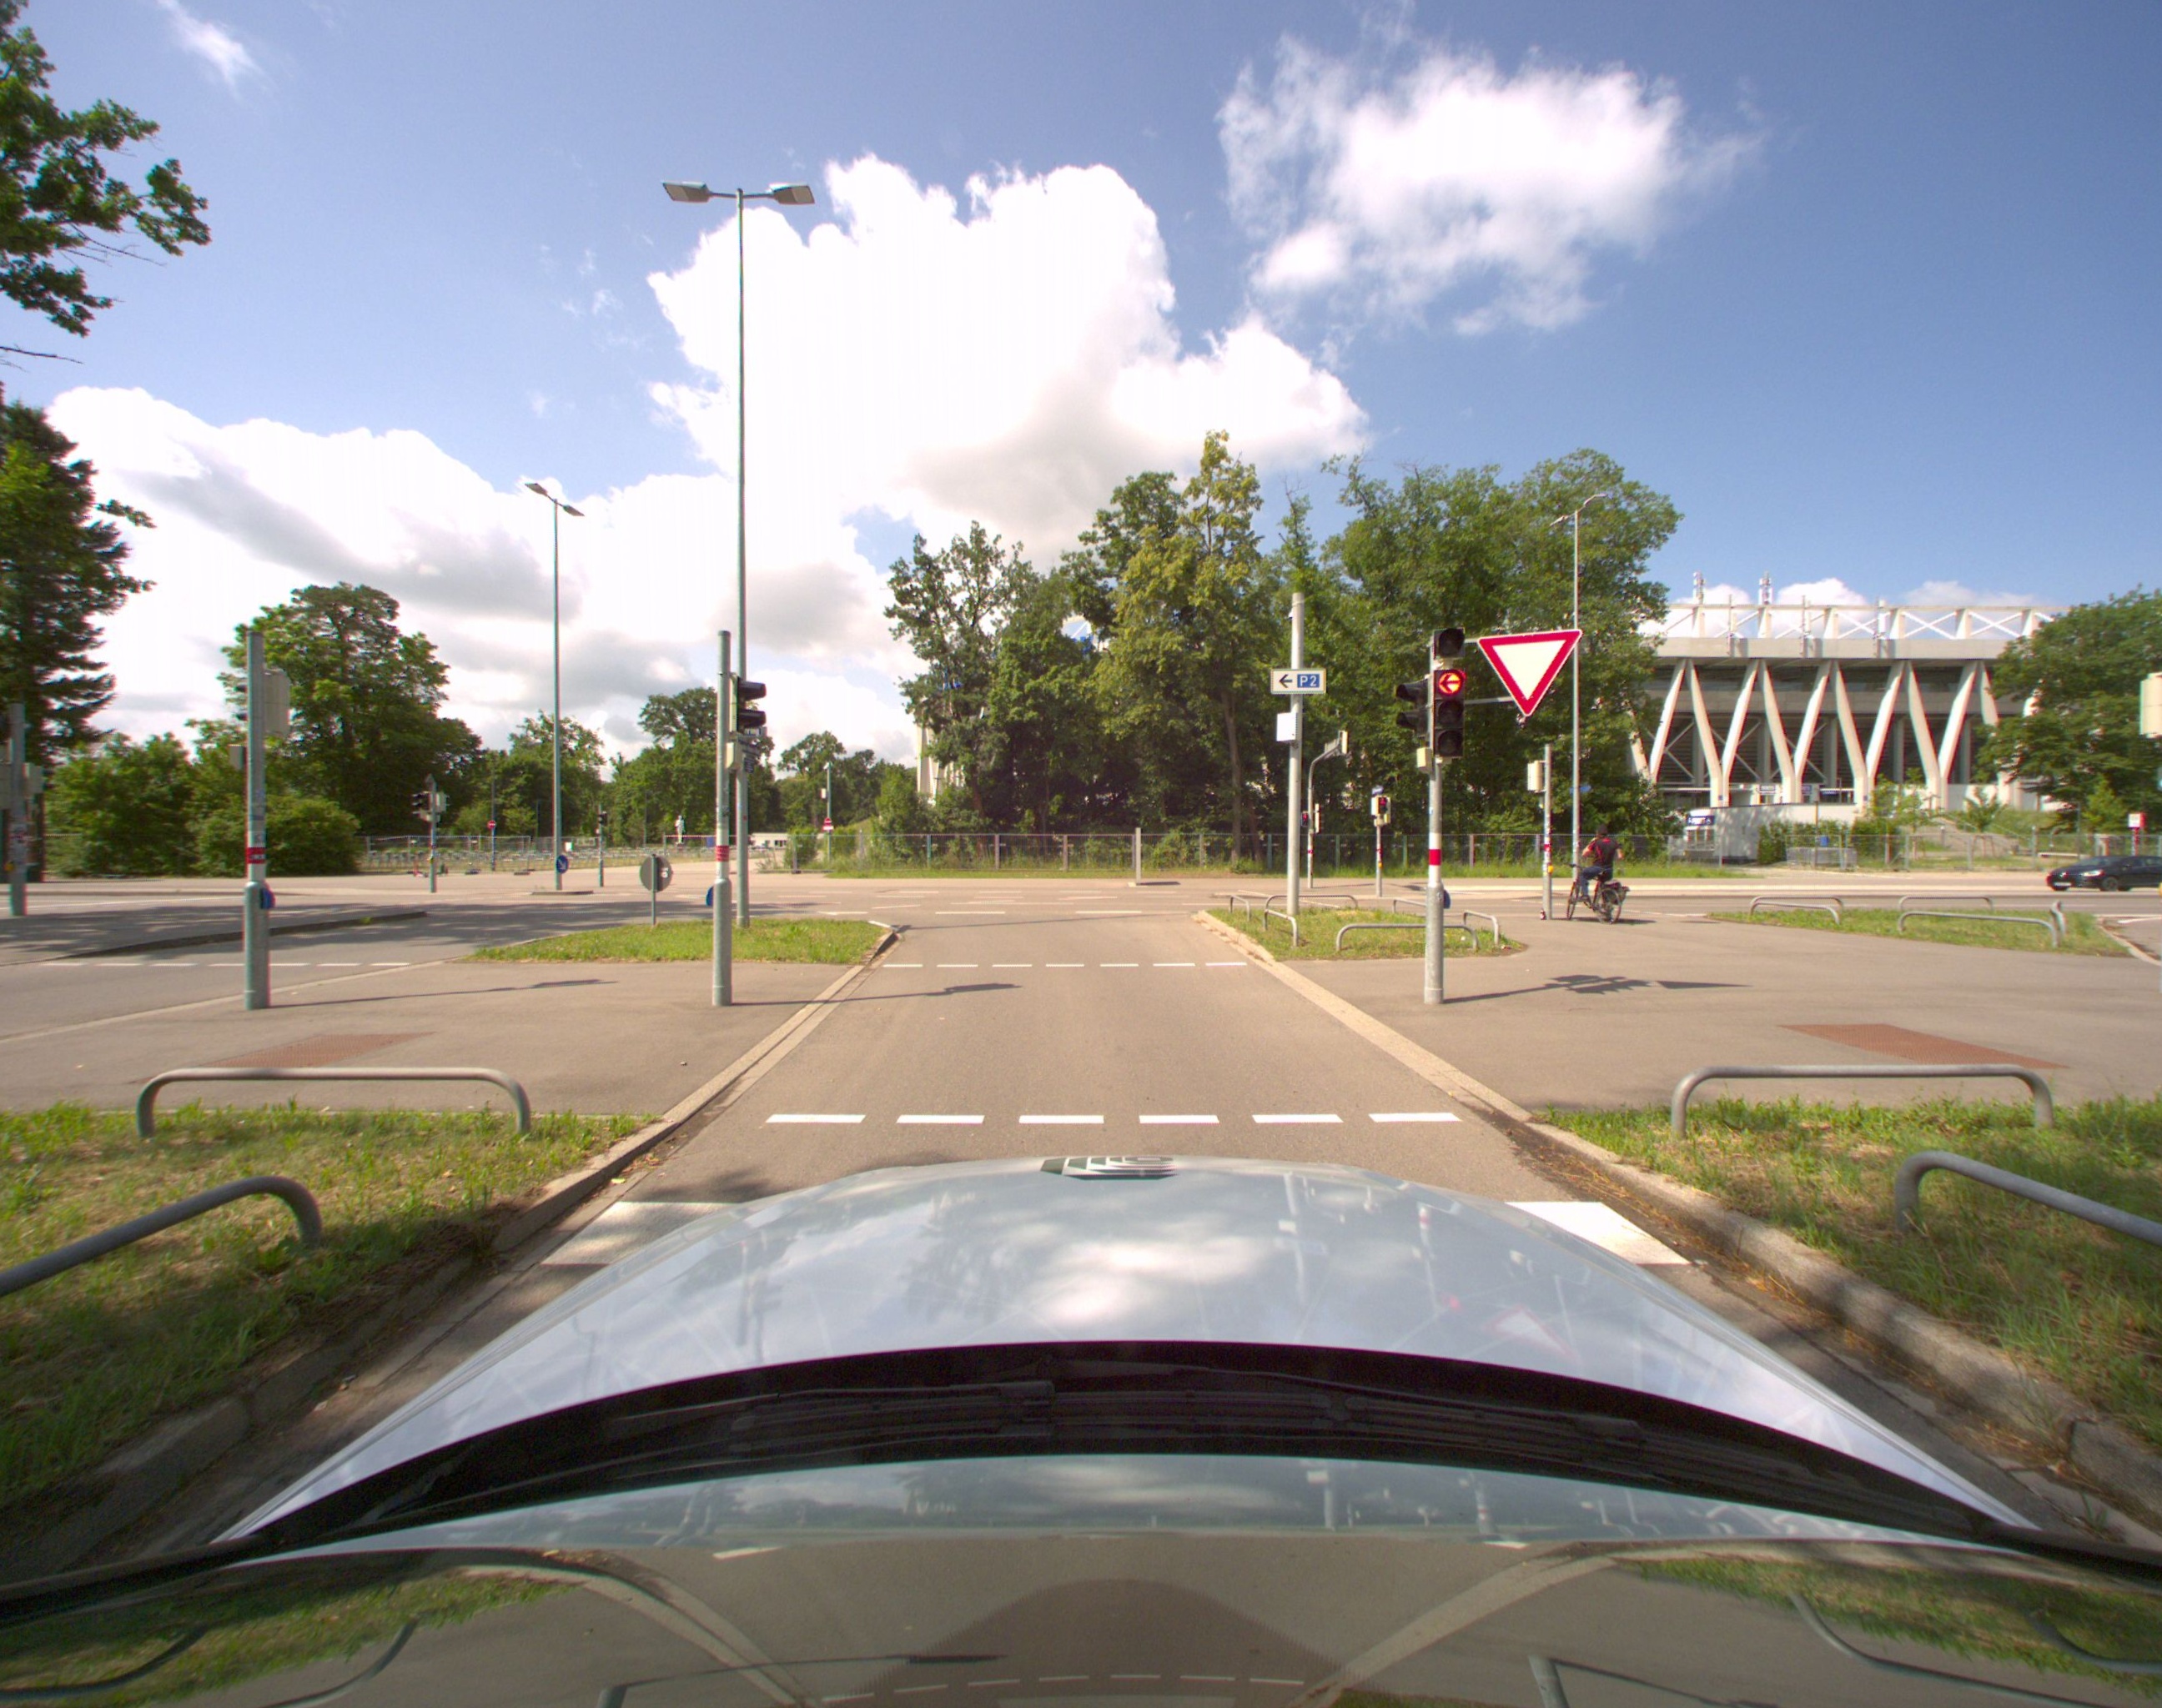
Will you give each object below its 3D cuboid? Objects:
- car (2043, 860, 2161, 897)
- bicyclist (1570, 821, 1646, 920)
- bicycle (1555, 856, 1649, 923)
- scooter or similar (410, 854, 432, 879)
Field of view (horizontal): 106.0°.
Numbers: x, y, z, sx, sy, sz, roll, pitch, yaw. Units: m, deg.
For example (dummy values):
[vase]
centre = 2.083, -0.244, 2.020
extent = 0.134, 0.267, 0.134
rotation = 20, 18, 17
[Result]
[car]
centre = 40.237, 0.923, 31.569
extent = 3.948, 1.378, 1.603
rotation = 0, -1, 1
[bicyclist]
centre = 9.940, 0.308, 15.404
extent = 0.879, 1.798, 0.981
rotation = -1, -1, 10
[bicycle]
centre = 9.959, 0.641, 15.664
extent = 0.875, 1.206, 1.903
rotation = -1, -1, 11
[scooter or similar]
centre = -32.218, 0.593, 39.731
extent = 1.295, 1.200, 0.410
rotation = 0, 1, 32
